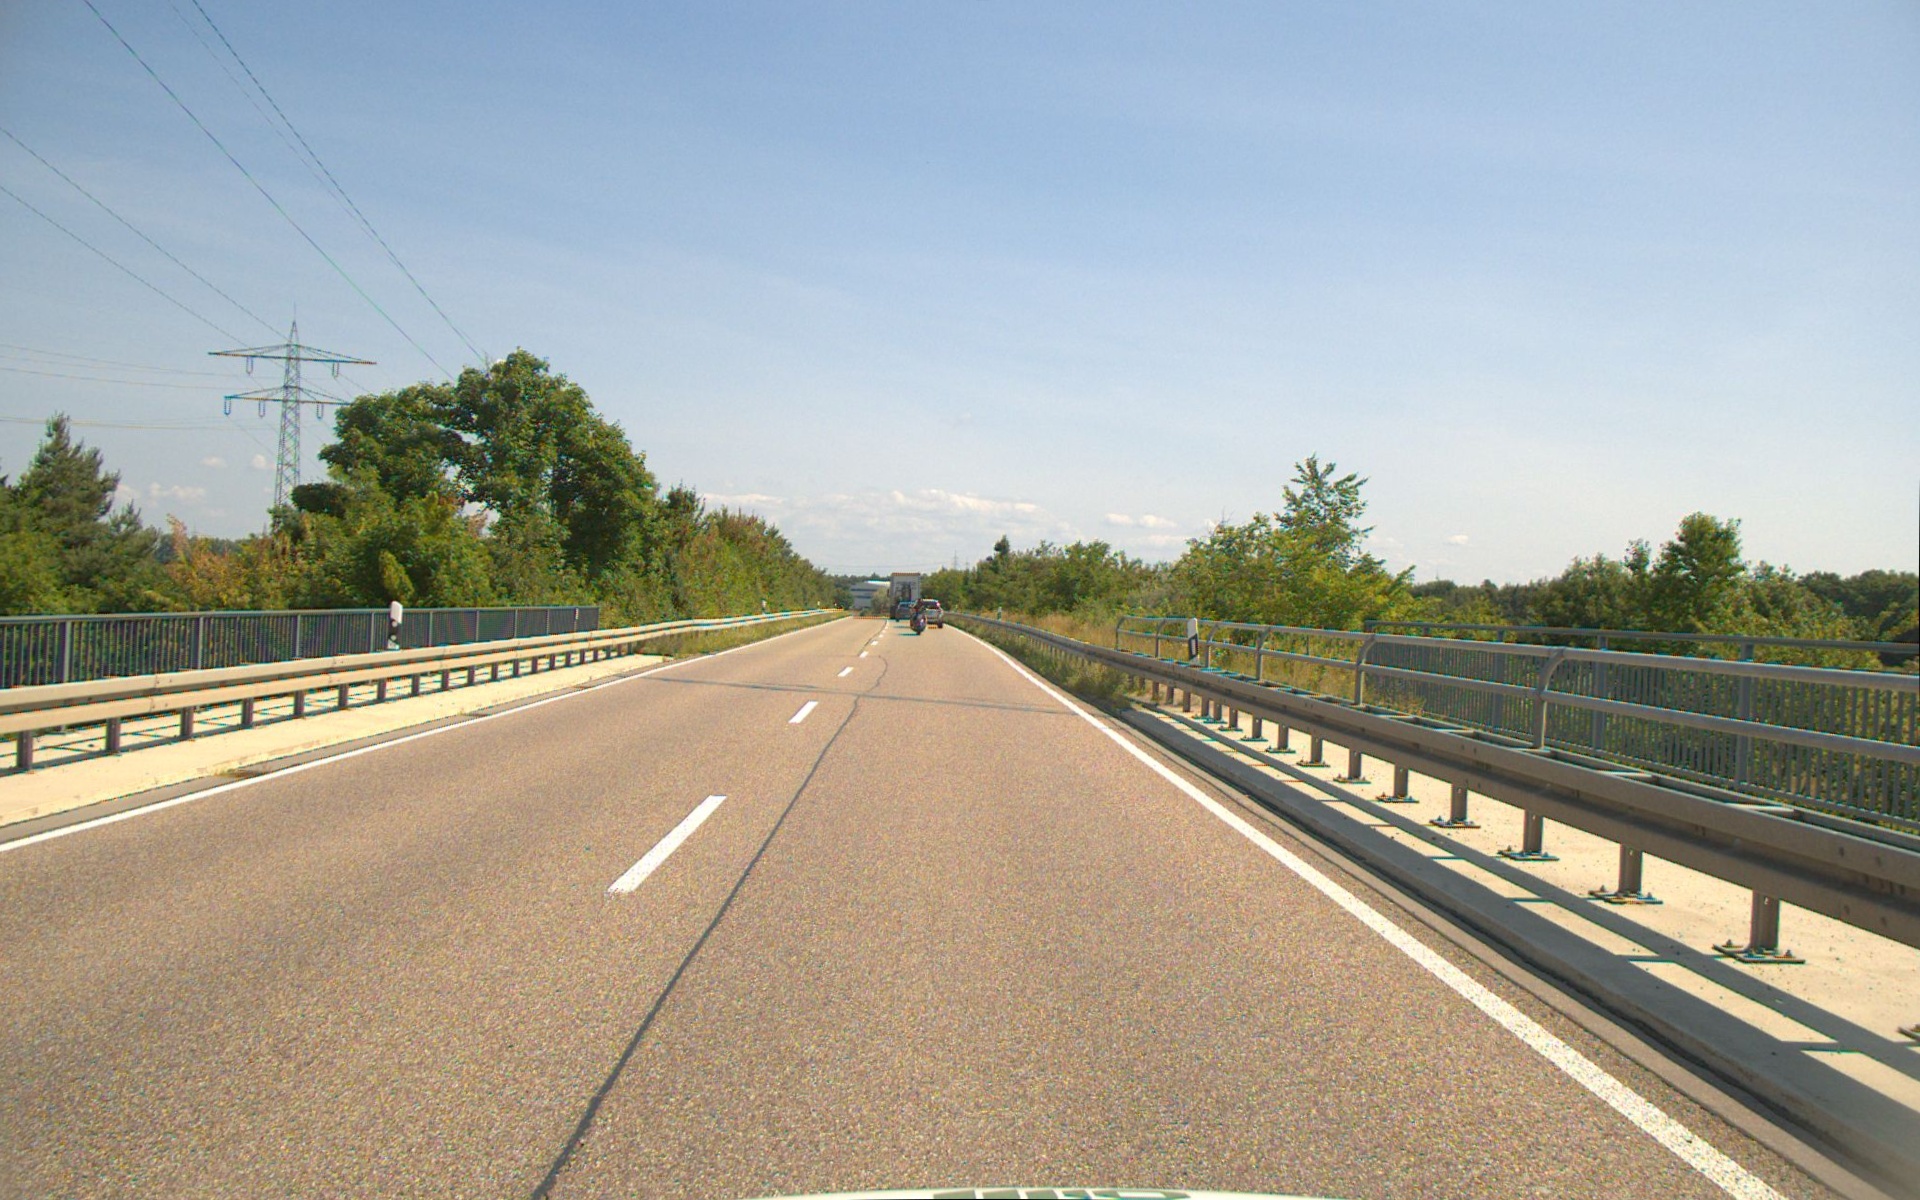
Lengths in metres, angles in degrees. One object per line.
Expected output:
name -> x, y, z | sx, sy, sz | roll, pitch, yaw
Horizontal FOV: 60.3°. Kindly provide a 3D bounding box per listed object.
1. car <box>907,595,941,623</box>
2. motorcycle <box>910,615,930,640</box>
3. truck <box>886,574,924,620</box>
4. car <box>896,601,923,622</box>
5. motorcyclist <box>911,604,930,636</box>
car -> -2.024, 0.499, 92.214 | 1.789, 1.477, 3.998 | 1, 1, -3
motorcycle -> -1.730, 1.192, 71.670 | 0.764, 0.992, 2.362 | 1, 1, 1
truck -> -5.098, -0.269, 150.392 | 3.177, 4.048, 9.437 | 1, 0, -3
car -> -3.729, 0.838, 123.493 | 1.827, 1.445, 4.000 | 1, 1, 0
motorcyclist -> -1.713, 0.848, 71.688 | 0.764, 1.349, 0.813 | 1, 0, 1
